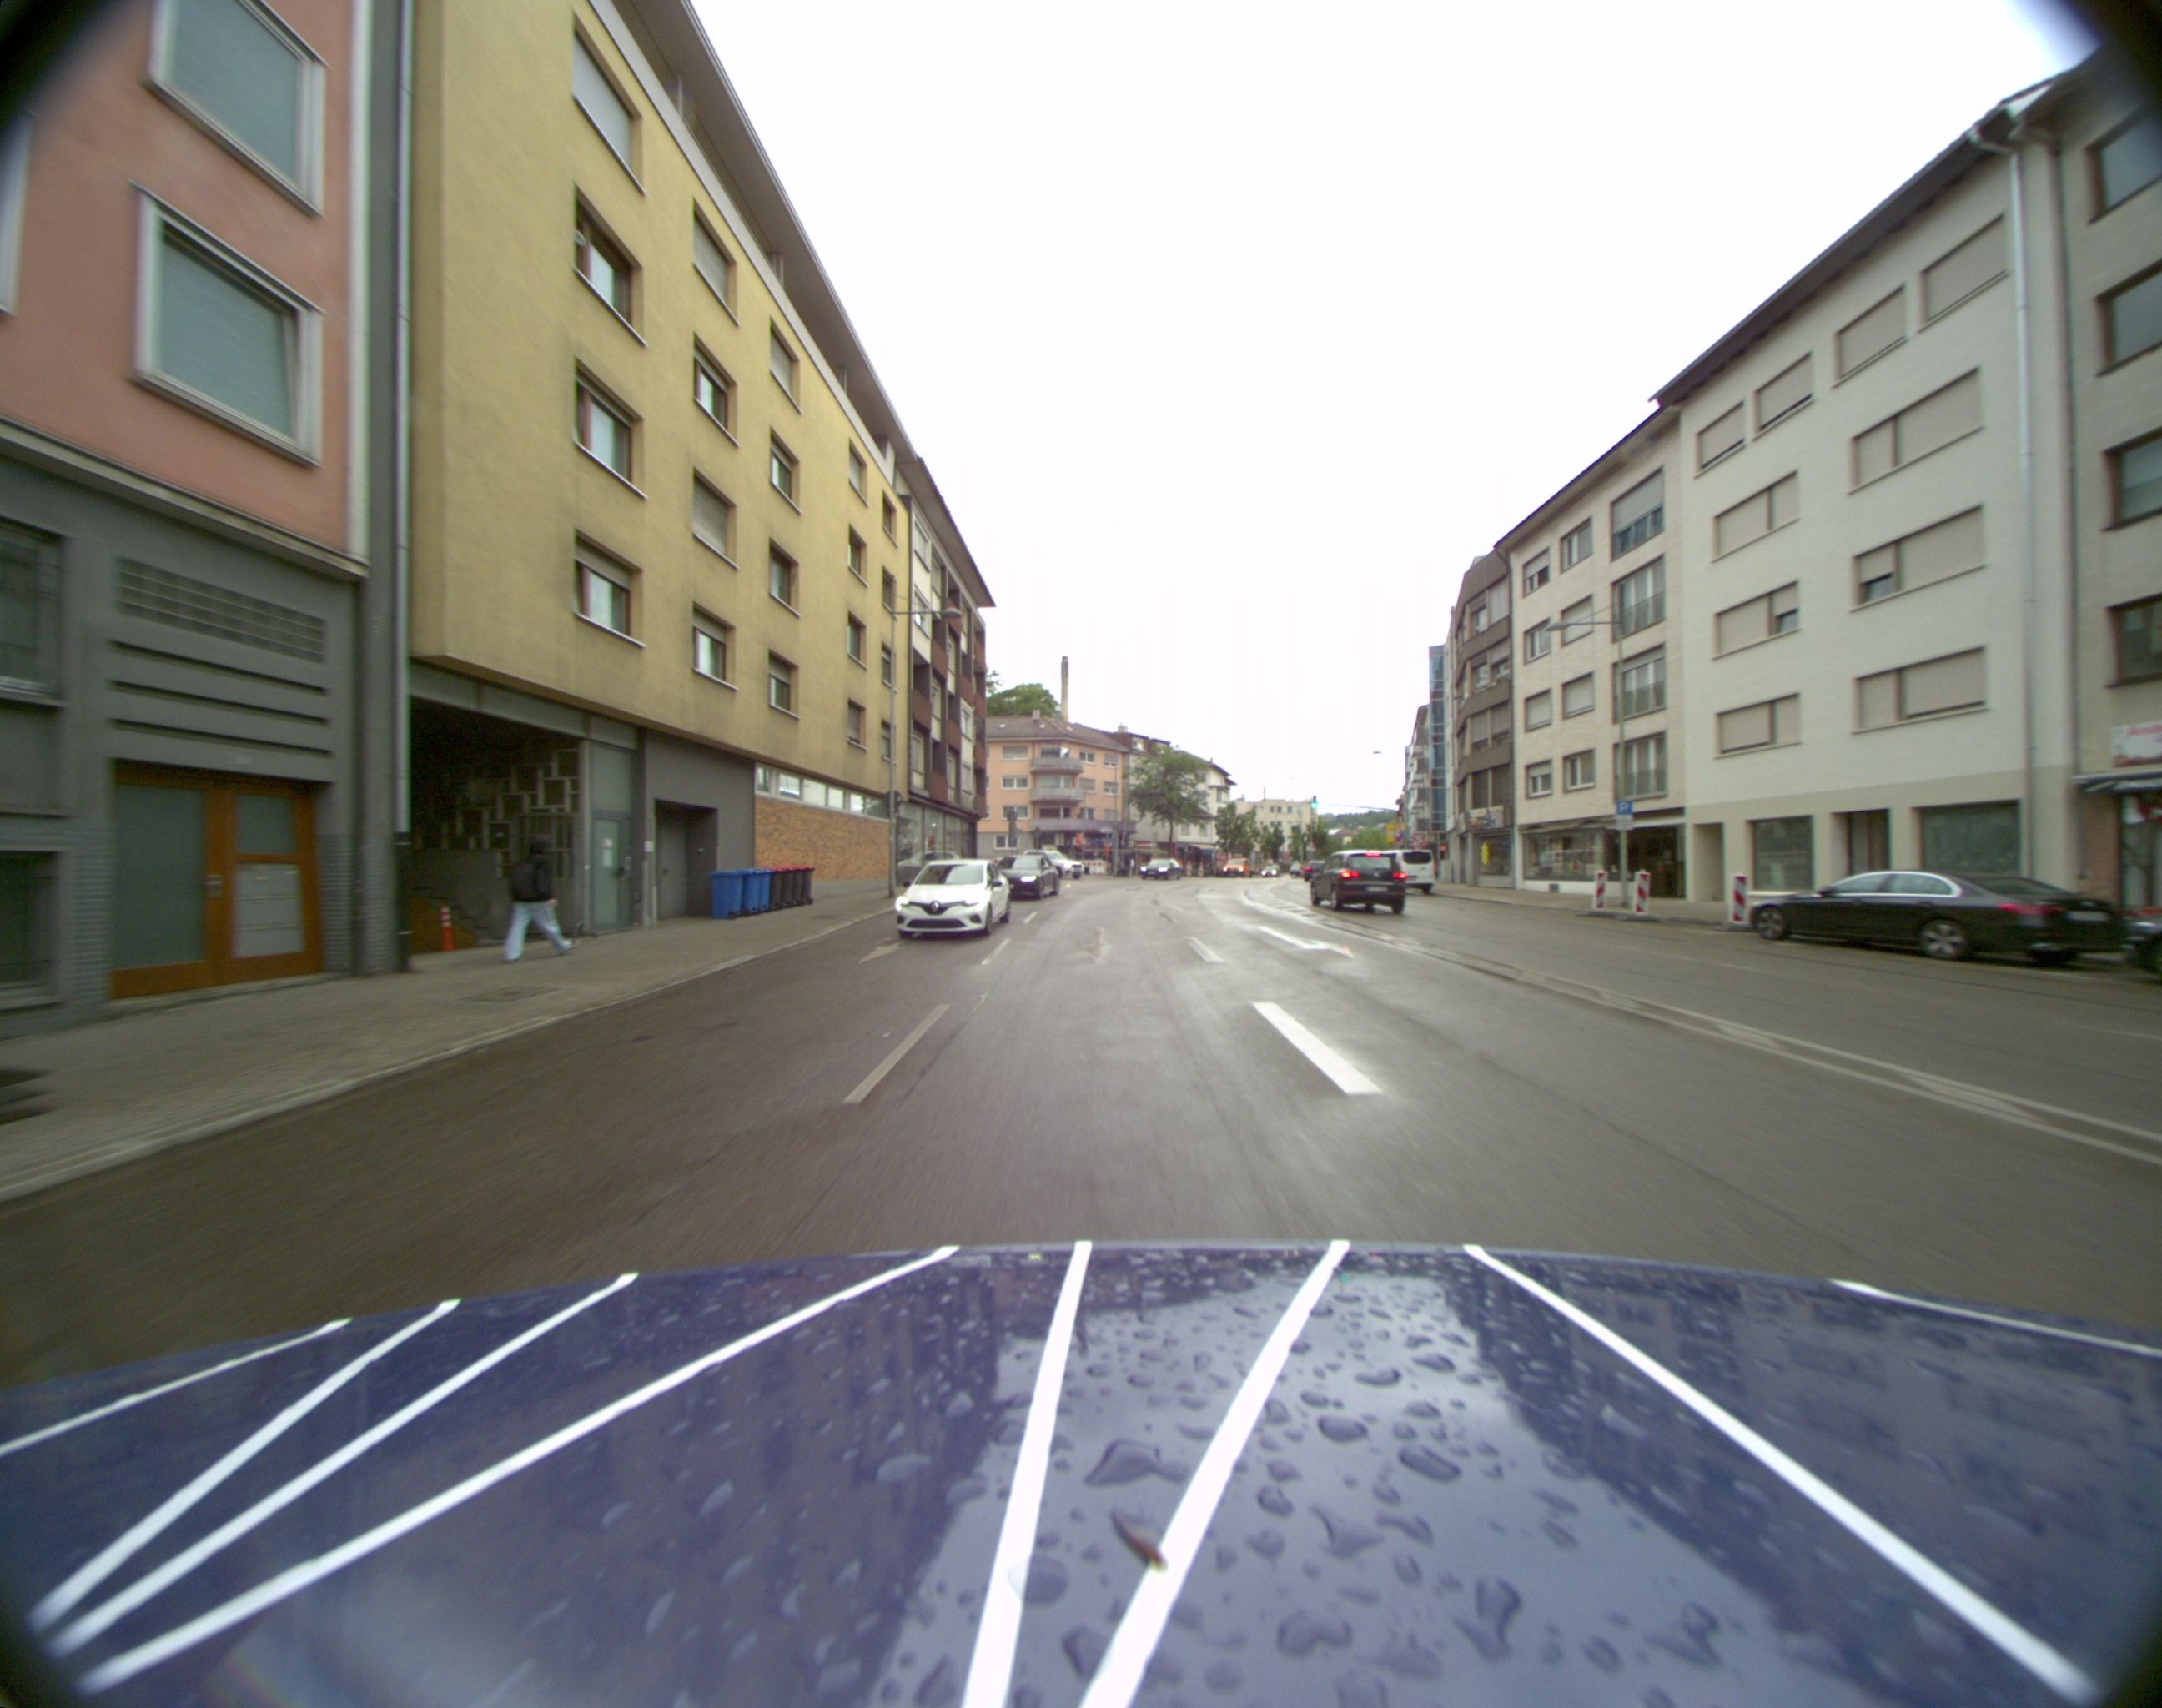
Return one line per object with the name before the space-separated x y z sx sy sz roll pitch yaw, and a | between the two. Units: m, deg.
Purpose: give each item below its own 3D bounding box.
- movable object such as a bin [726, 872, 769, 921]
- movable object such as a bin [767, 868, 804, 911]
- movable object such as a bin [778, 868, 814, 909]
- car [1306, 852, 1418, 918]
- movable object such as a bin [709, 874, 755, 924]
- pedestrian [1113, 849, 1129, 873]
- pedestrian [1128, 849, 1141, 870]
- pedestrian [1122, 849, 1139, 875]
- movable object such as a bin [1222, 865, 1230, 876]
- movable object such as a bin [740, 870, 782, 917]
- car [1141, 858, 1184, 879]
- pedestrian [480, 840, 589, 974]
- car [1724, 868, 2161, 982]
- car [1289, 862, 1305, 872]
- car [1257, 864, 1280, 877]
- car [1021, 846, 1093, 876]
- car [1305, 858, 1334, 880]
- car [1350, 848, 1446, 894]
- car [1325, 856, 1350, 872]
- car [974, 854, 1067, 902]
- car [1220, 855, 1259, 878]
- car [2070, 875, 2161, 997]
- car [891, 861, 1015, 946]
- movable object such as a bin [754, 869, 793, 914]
movable object such as a bin | -7.638 0.962 17.432 0.682 1.070 0.668 0 1 2
movable object such as a bin | -7.573 0.908 19.485 0.682 1.070 0.668 0 1 2
movable object such as a bin | -7.558 0.911 20.172 0.682 1.070 0.668 0 1 2
car | 7.750 0.774 21.378 1.866 1.637 4.255 1 0 5
movable object such as a bin | -7.669 0.976 16.731 0.682 1.070 0.668 0 1 2
pedestrian | 2.863 0.497 54.138 0.822 1.678 0.792 0 2 -24
pedestrian | 4.862 0.463 69.239 0.990 1.869 0.659 2 3 38
pedestrian | 3.594 0.549 55.452 0.920 1.850 1.029 0 2 -18
movable object such as a bin | 14.941 1.658 78.346 0.578 1.104 0.667 2 -1 29
movable object such as a bin | -7.621 0.935 18.117 0.682 1.070 0.668 0 1 2
car | 5.588 0.985 51.750 1.809 1.331 4.286 1 -2 22
pedestrian | -7.665 0.715 10.715 0.674 1.777 1.095 -1 0 4
car | 14.227 1.046 13.156 1.887 1.468 4.978 1 0 -1
car | 31.410 1.917 110.372 1.811 1.334 4.006 -2 -1 23
car | 21.831 1.910 88.402 1.840 1.433 4.007 -2 -1 25
car | -1.615 0.445 49.130 2.004 1.710 4.783 1 1 -42
car | 17.129 1.076 54.469 1.685 1.464 4.007 2 0 21
car | 15.382 0.753 37.225 2.125 2.003 5.126 -3 1 -5
car | 25.436 0.954 75.390 1.985 1.451 4.493 2 0 23
car | -1.955 0.761 26.500 2.038 1.379 5.296 1 1 9
car | 15.284 1.148 73.120 2.194 2.073 5.944 -1 0 27
car | 14.184 1.020 7.852 1.999 1.468 4.518 0 0 -1
car | -2.464 0.905 15.596 1.680 1.395 4.000 -1 1 3
movable object such as a bin | -7.600 0.917 18.798 0.682 1.070 0.668 0 1 2
